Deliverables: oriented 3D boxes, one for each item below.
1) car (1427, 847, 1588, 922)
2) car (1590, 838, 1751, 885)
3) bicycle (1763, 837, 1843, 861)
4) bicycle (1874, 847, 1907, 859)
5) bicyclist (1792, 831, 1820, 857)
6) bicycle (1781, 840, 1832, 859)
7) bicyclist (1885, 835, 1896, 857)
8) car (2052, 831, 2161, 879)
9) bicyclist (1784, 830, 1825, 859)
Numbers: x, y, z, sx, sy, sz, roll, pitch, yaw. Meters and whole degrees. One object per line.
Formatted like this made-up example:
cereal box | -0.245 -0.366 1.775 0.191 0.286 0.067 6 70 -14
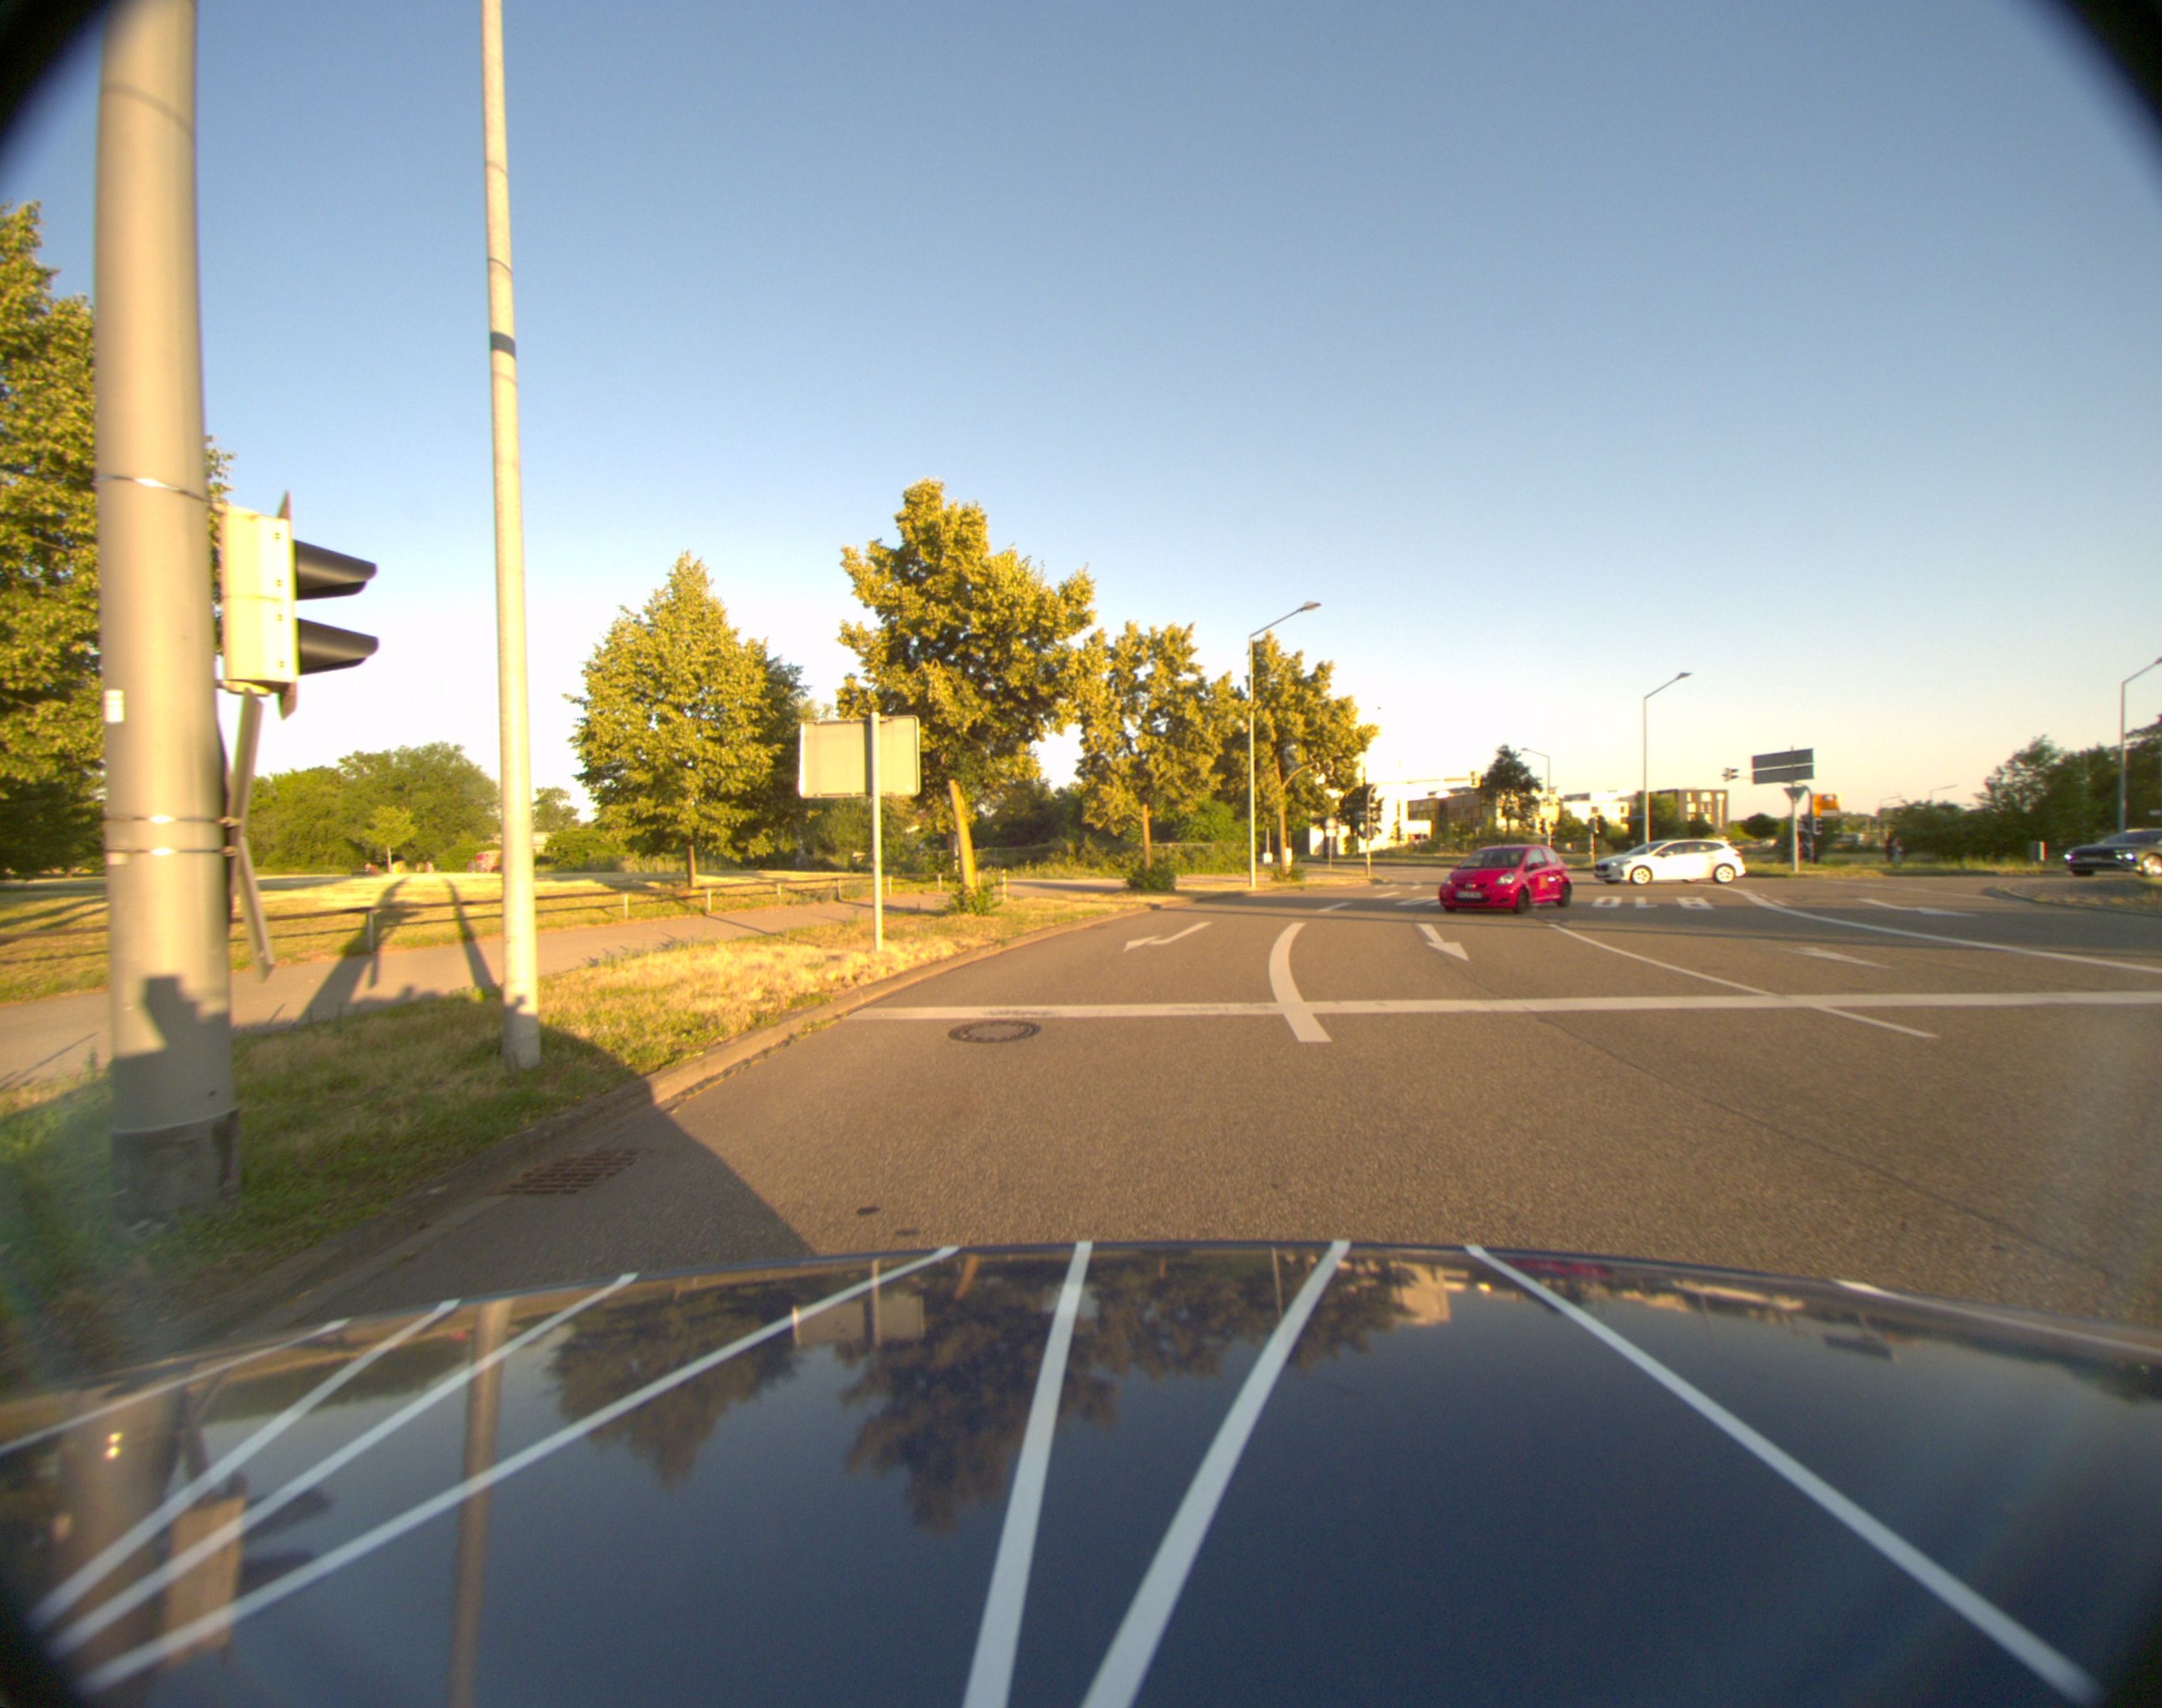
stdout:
car | 9.574 0.601 16.941 4.219 1.413 1.690 -1 0 -39
car | 20.700 0.257 26.837 4.210 1.549 1.761 -1 0 5
bicycle | 44.333 -0.298 46.705 3.534 1.387 1.124 -1 1 9
bicycle | 51.489 -0.062 48.336 0.475 0.787 1.415 -1 0 -44
bicyclist | 46.049 -0.654 48.275 0.999 1.623 0.811 -1 1 9
bicycle | 46.082 -0.268 48.282 2.325 1.172 0.811 -1 1 9
bicyclist | 51.480 -0.494 48.314 0.475 1.389 0.447 -1 1 -44
car | 36.243 0.009 25.622 4.209 1.549 1.829 -1 0 8
bicyclist | 44.393 -0.601 46.625 1.415 1.739 1.124 -1 1 9
